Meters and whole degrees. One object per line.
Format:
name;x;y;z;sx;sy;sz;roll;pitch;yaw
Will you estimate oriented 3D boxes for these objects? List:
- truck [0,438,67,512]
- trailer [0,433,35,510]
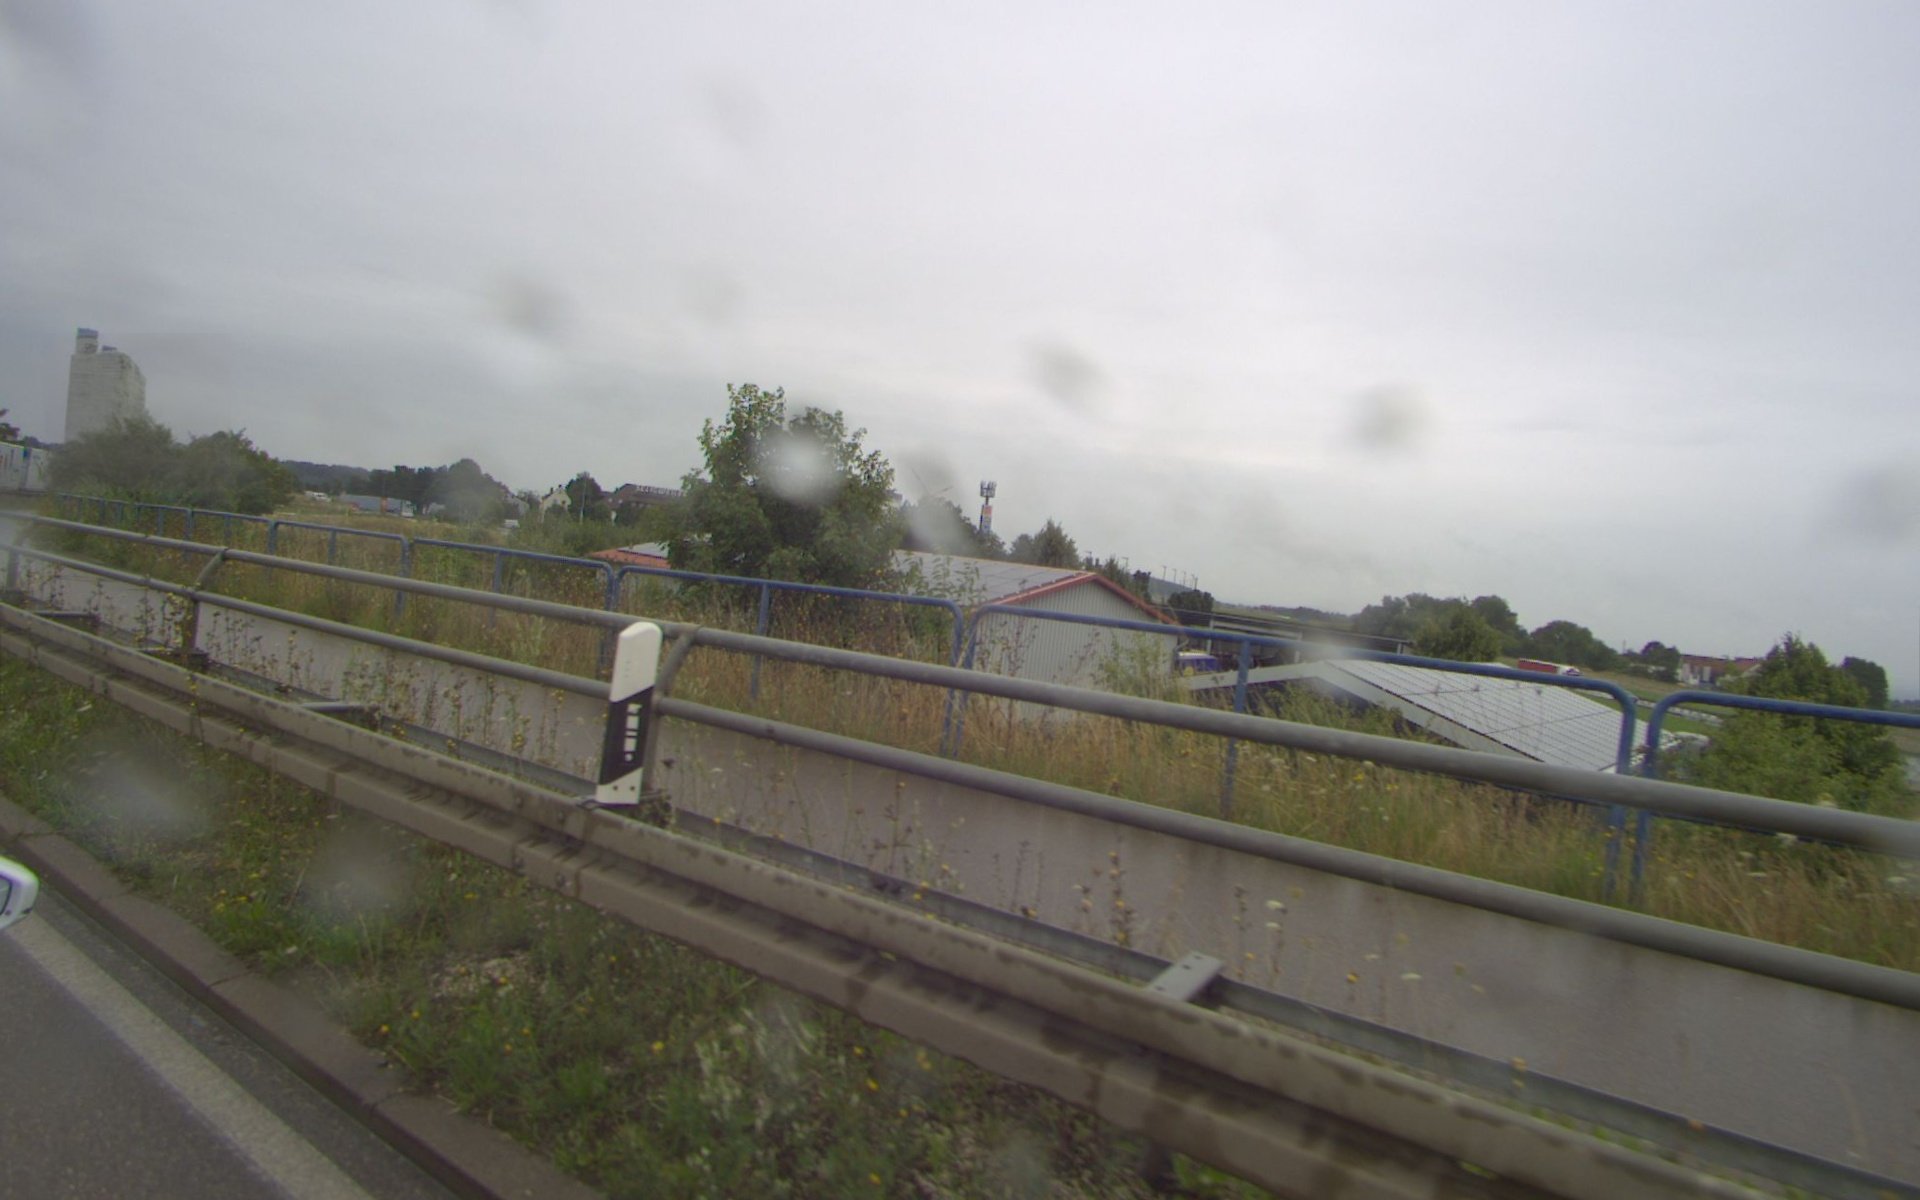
truck;-59.104;-7.815;62.877;3.181;3.968;8.664;8;-1;-33
trailer;-54.485;-7.318;55.541;3.181;3.968;8.664;8;-1;-33
